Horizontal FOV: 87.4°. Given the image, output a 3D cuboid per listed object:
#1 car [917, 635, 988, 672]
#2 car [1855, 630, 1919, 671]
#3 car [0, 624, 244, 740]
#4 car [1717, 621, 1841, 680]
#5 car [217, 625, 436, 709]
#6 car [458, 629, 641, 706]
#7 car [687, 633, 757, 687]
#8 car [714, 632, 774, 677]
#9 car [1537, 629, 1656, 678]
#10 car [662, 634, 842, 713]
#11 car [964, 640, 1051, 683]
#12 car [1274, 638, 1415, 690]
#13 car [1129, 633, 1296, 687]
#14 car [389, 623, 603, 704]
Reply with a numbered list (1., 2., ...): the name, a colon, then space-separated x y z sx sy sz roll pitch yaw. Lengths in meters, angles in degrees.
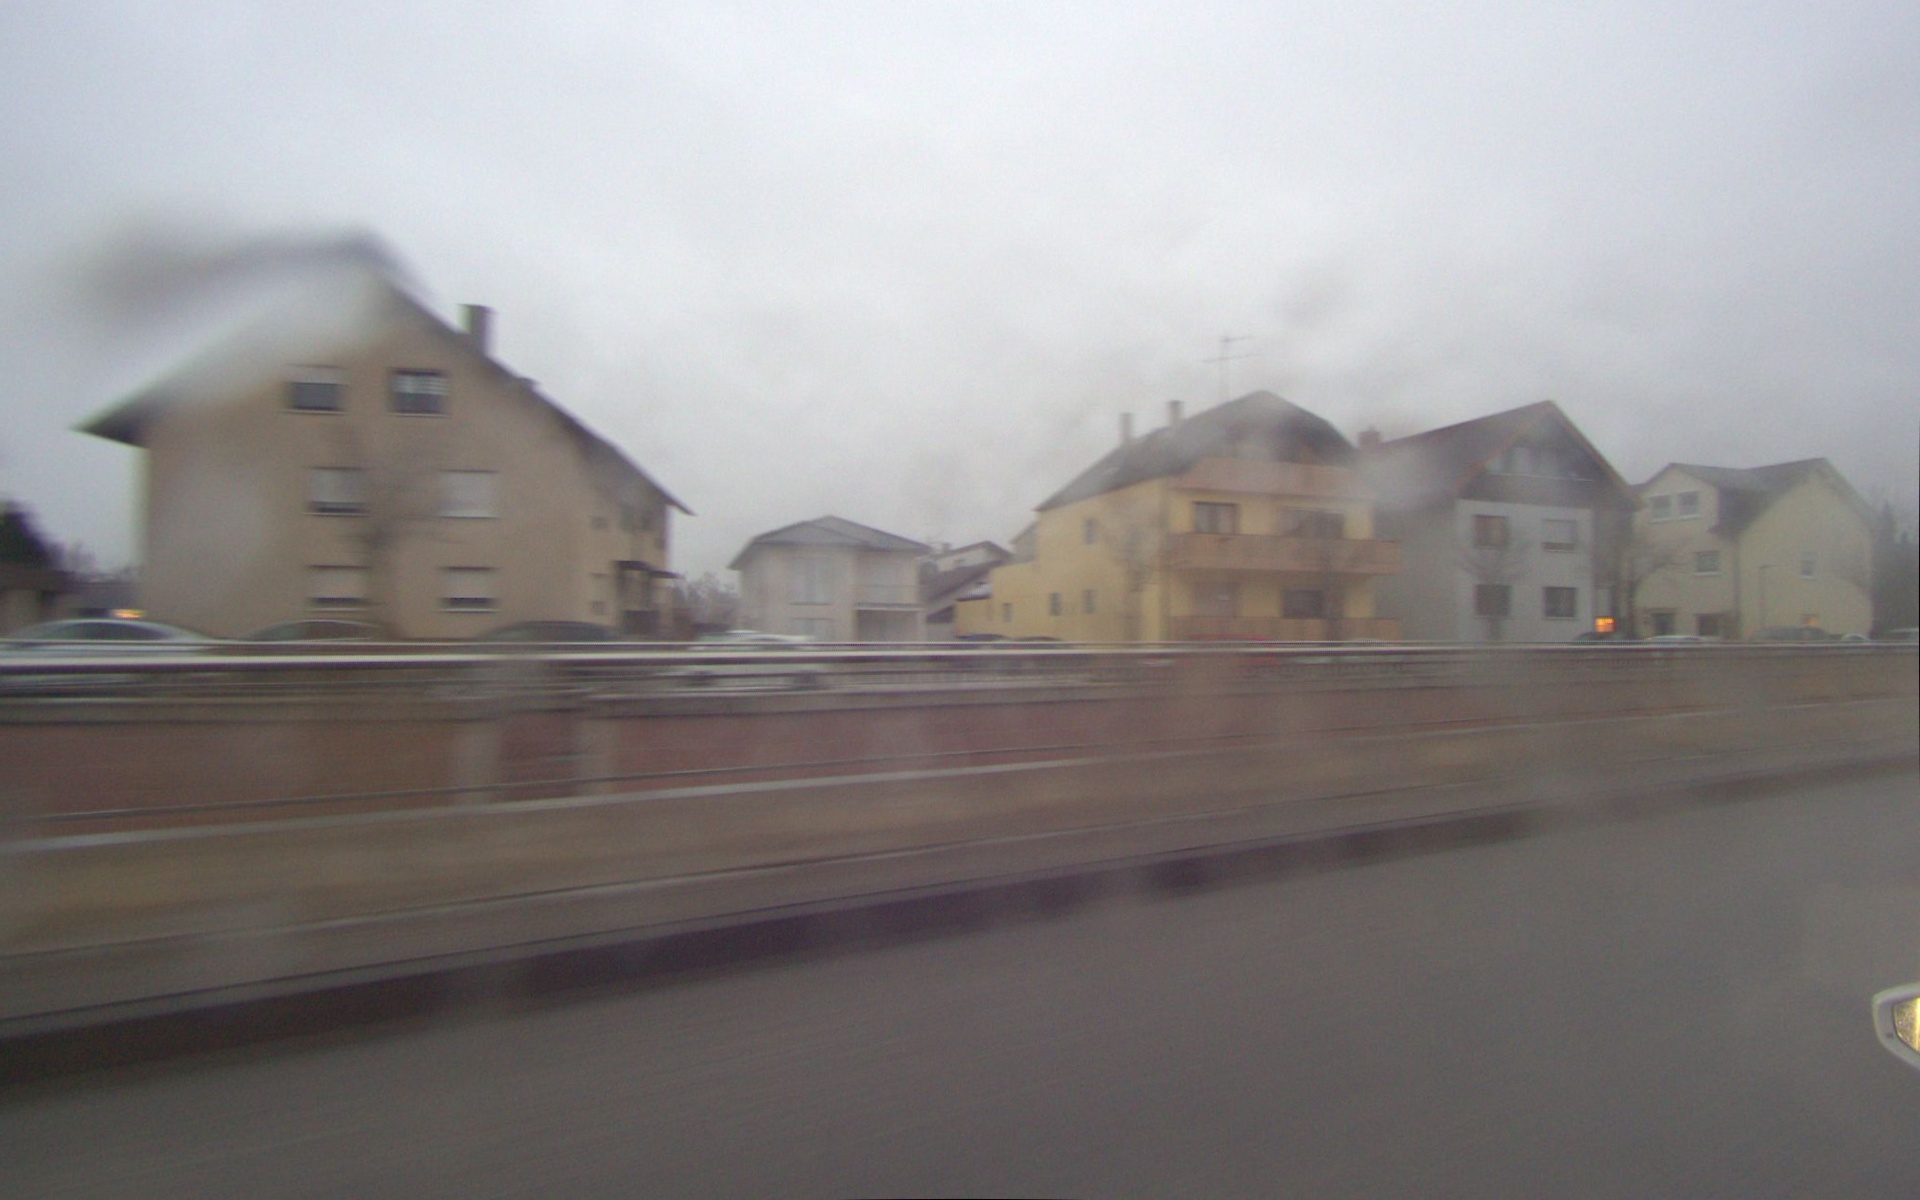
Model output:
1. car: -0.395 2.297 44.026 1.969 1.463 3.983 1 -1 -19
2. car: 43.589 2.310 46.139 4.436 1.801 1.871 0 -3 -23
3. car: -16.046 1.445 18.626 4.307 1.930 1.984 1 1 -31
4. car: 26.916 1.646 33.004 3.811 1.827 1.793 1 -3 -27
5. car: -13.873 1.411 22.301 3.950 1.669 1.827 1 0 -28
6. car: -9.886 1.556 24.235 3.947 1.669 1.804 1 0 -26
7. car: -7.899 1.963 33.628 1.779 1.544 4.036 1 0 -6
8. car: -8.497 2.129 39.752 1.963 1.565 3.995 1 0 -7
9. car: 23.705 1.958 37.407 3.944 1.704 1.854 1 0 -24
10. car: -4.955 1.683 23.948 3.930 1.646 1.812 0 1 -24
11. car: 1.719 2.283 37.983 1.969 1.463 3.983 1 -1 -19
12. car: 12.245 1.982 31.966 4.085 1.525 1.872 1 -1 -24
13. car: 7.405 1.707 29.452 4.581 1.461 1.873 1 -1 -23
14. car: -9.796 1.330 21.459 3.945 1.538 1.891 2 0 -24
